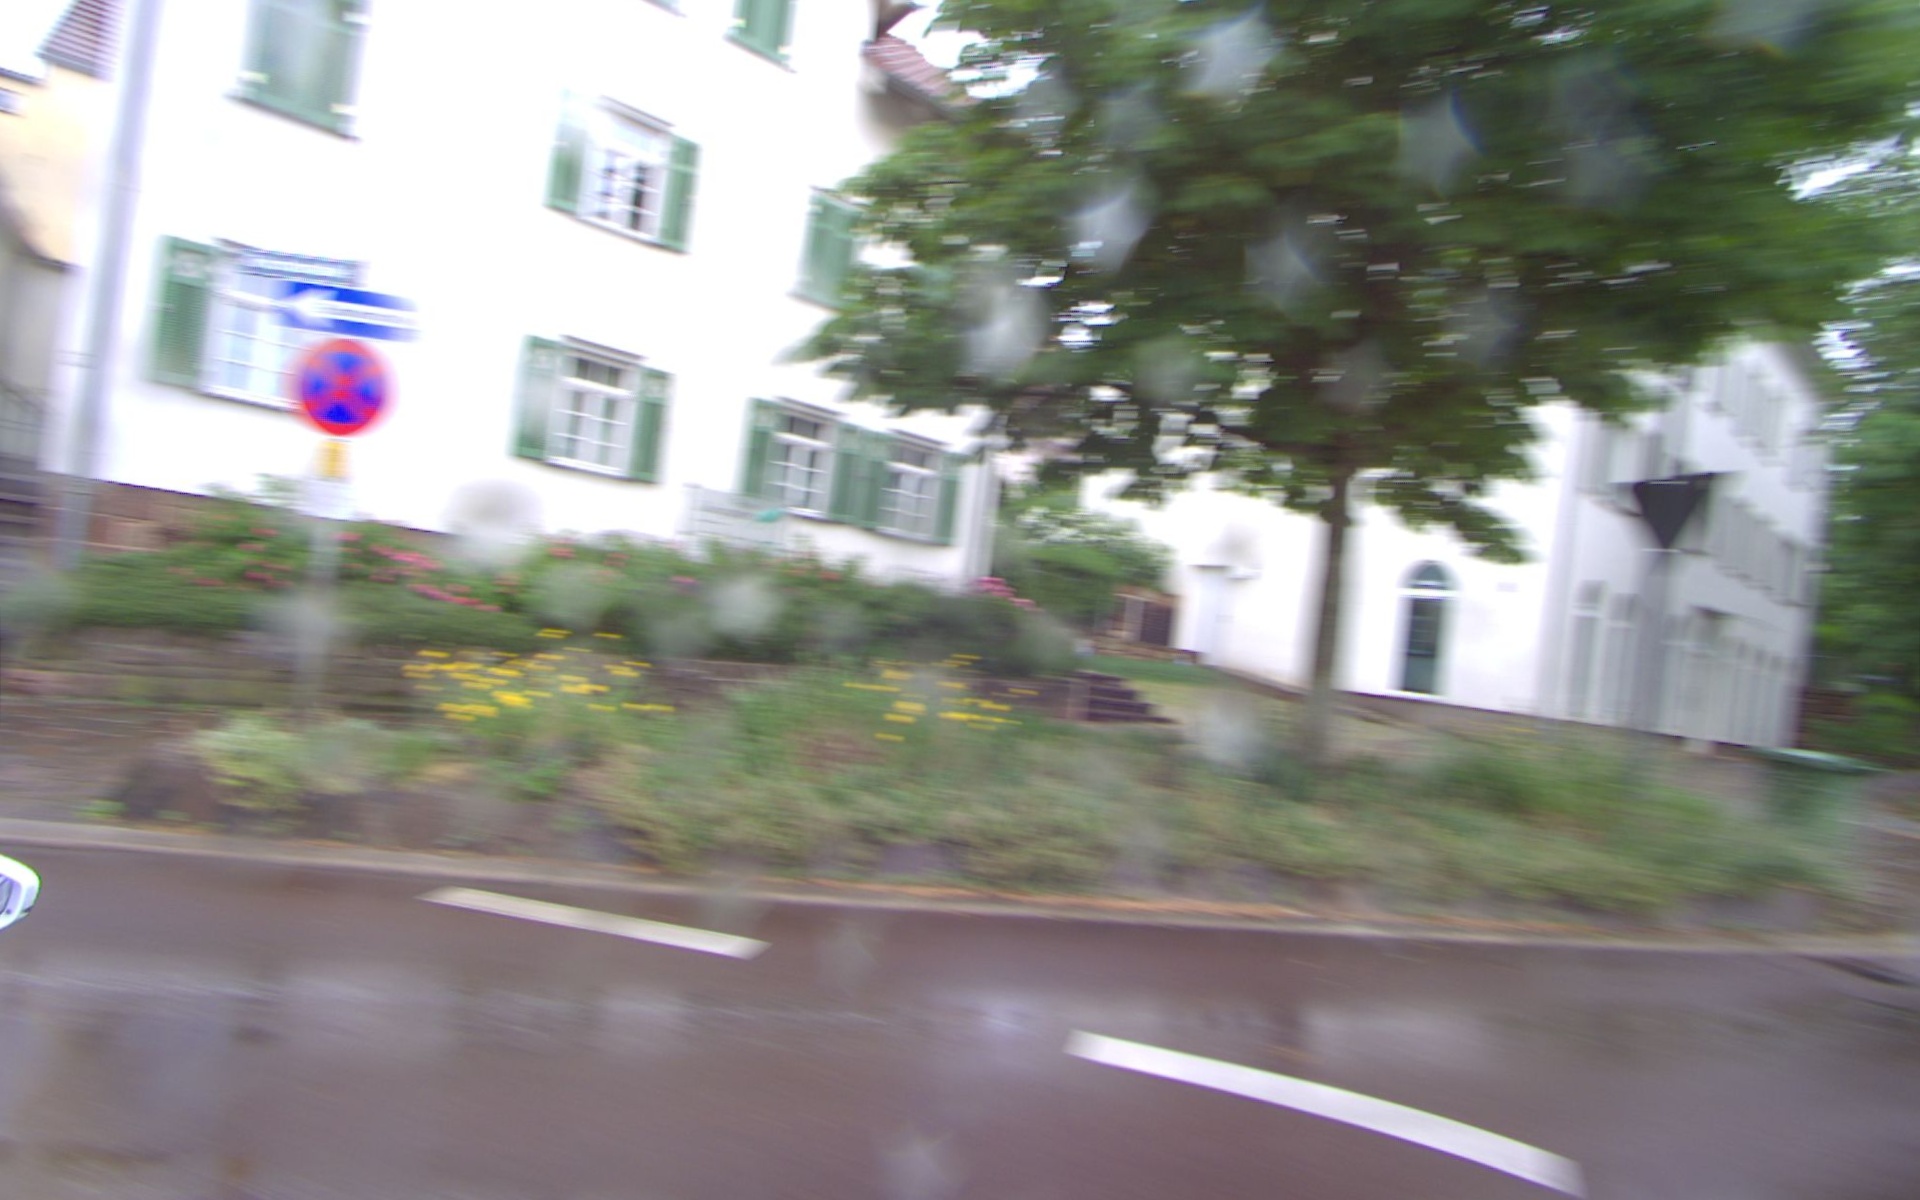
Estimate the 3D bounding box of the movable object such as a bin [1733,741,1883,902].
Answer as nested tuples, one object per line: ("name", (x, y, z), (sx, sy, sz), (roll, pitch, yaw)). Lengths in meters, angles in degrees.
("movable object such as a bin", (6.943, 1.785, 8.245), (0.644, 1.137, 0.733), (7, -1, -35))
